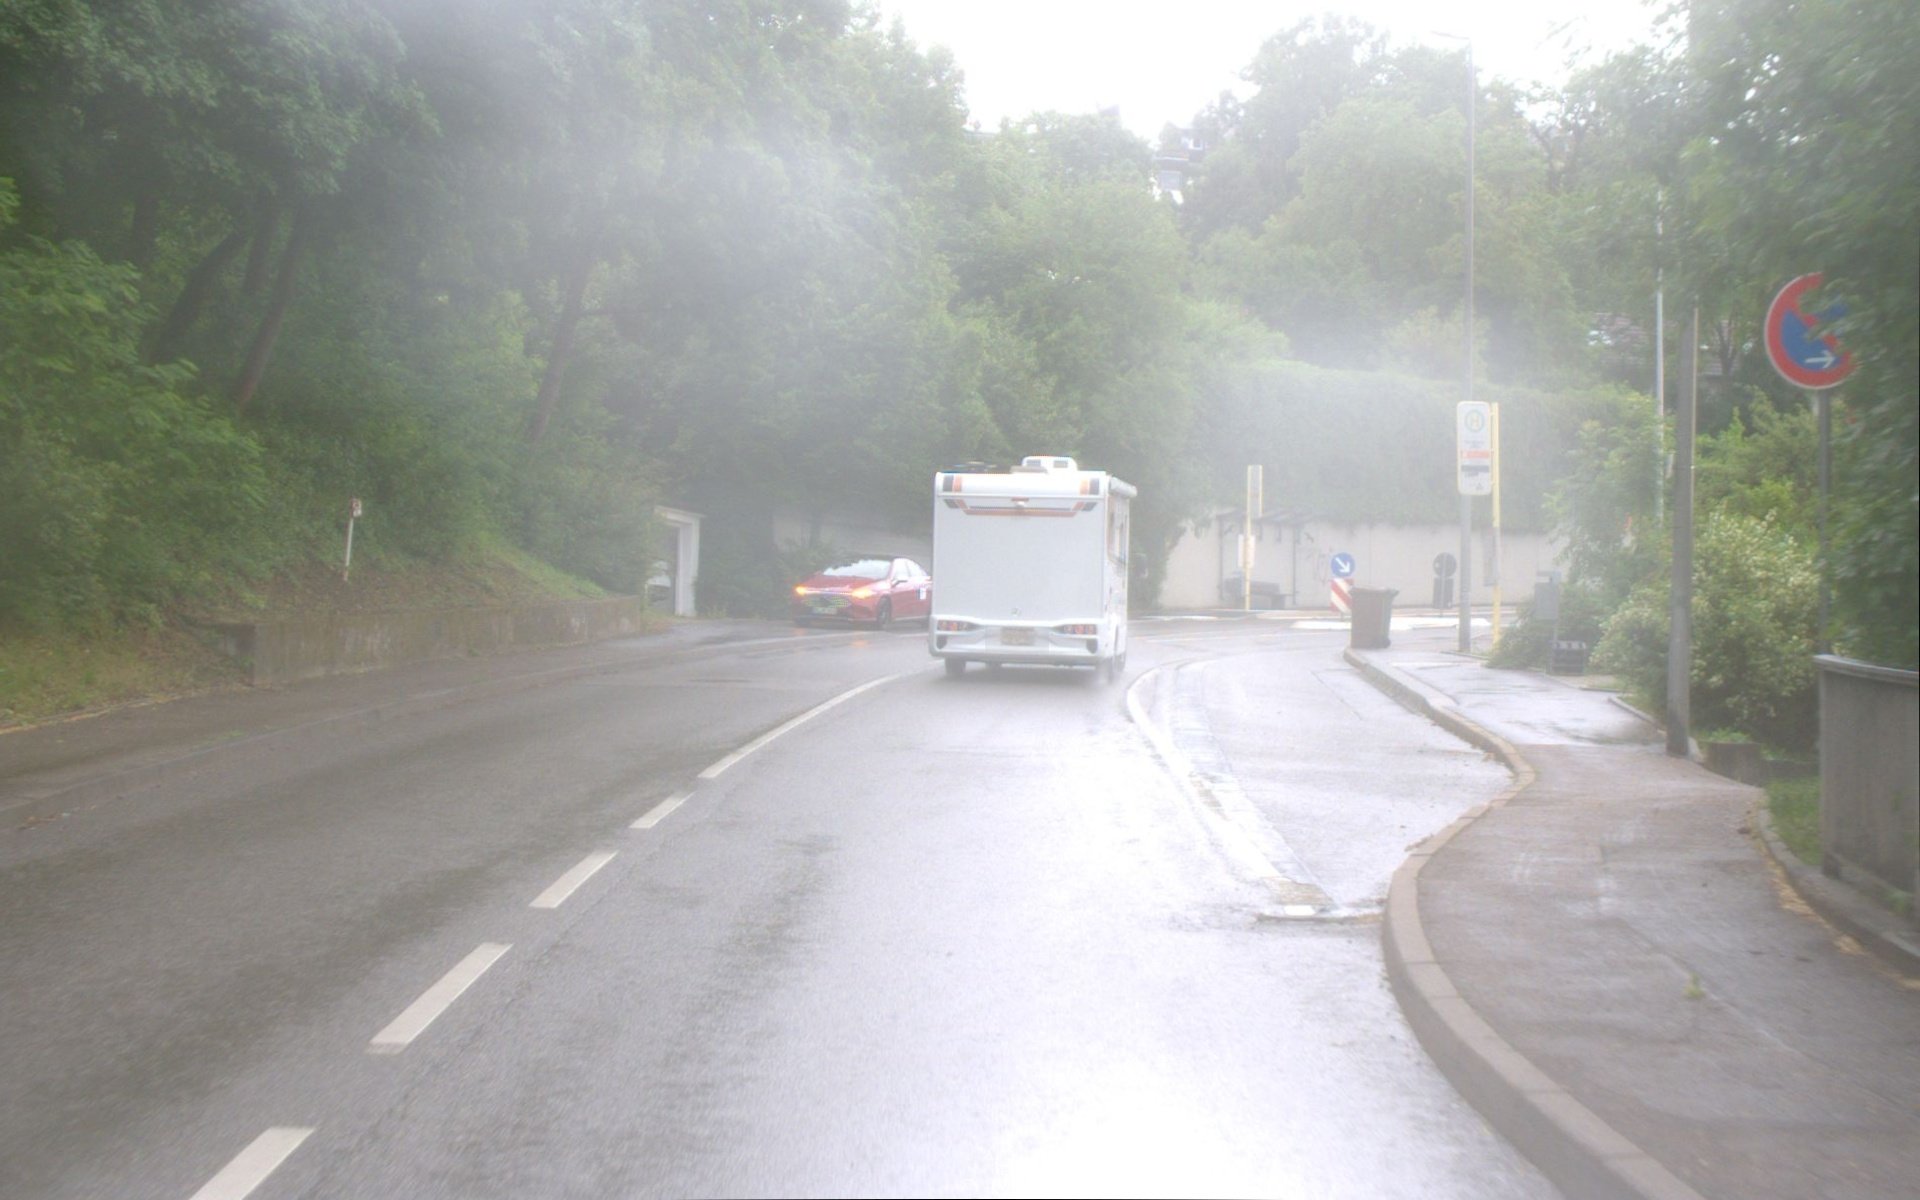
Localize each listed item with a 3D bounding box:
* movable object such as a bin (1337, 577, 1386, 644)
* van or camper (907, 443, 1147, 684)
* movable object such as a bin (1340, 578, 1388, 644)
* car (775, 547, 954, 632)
[{"bbox_3d":[6.957,0.181,59.578,0.778,1.129,0.738,2,1,9],"label":"movable object such as a bin"},{"bbox_3d":[0.995,-0.466,46.031,2.541,2.915,5.946,-2,0,7],"label":"van or camper"},{"bbox_3d":[7.148,0.196,60.762,0.778,1.129,0.738,2,1,9],"label":"movable object such as a bin"},{"bbox_3d":[-1.850,-0.242,68.129,1.995,1.556,4.648,2,1,19],"label":"car"}]
